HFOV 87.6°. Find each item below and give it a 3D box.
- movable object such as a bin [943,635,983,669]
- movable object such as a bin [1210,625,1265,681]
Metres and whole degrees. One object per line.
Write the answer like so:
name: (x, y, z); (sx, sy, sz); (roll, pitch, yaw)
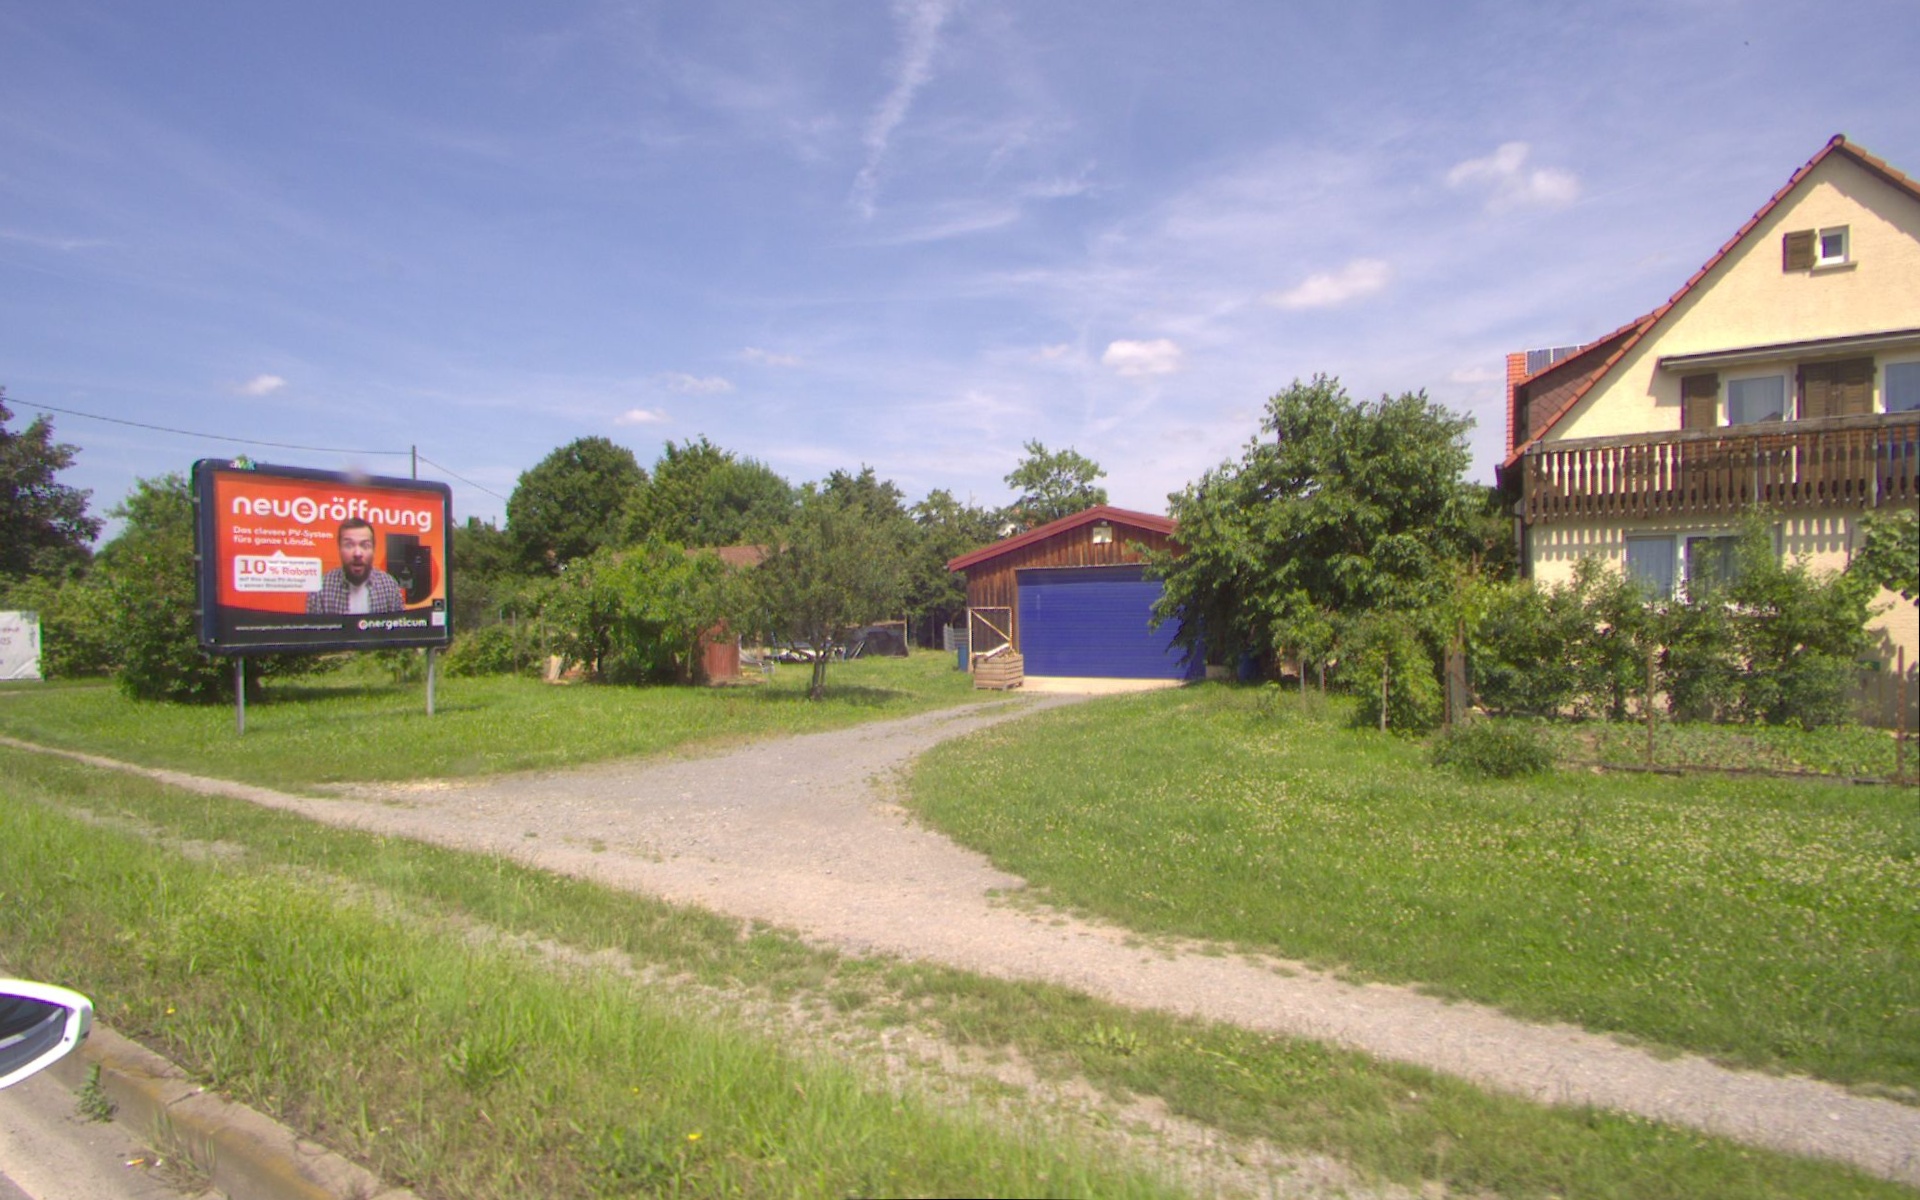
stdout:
movable object such as a bin: (0.108, 1.670, 32.227); (1.044, 1.046, 1.040); (0, -1, 18)
movable object such as a bin: (7.278, 1.378, 26.226); (1.049, 1.415, 1.271); (0, -1, 33)
